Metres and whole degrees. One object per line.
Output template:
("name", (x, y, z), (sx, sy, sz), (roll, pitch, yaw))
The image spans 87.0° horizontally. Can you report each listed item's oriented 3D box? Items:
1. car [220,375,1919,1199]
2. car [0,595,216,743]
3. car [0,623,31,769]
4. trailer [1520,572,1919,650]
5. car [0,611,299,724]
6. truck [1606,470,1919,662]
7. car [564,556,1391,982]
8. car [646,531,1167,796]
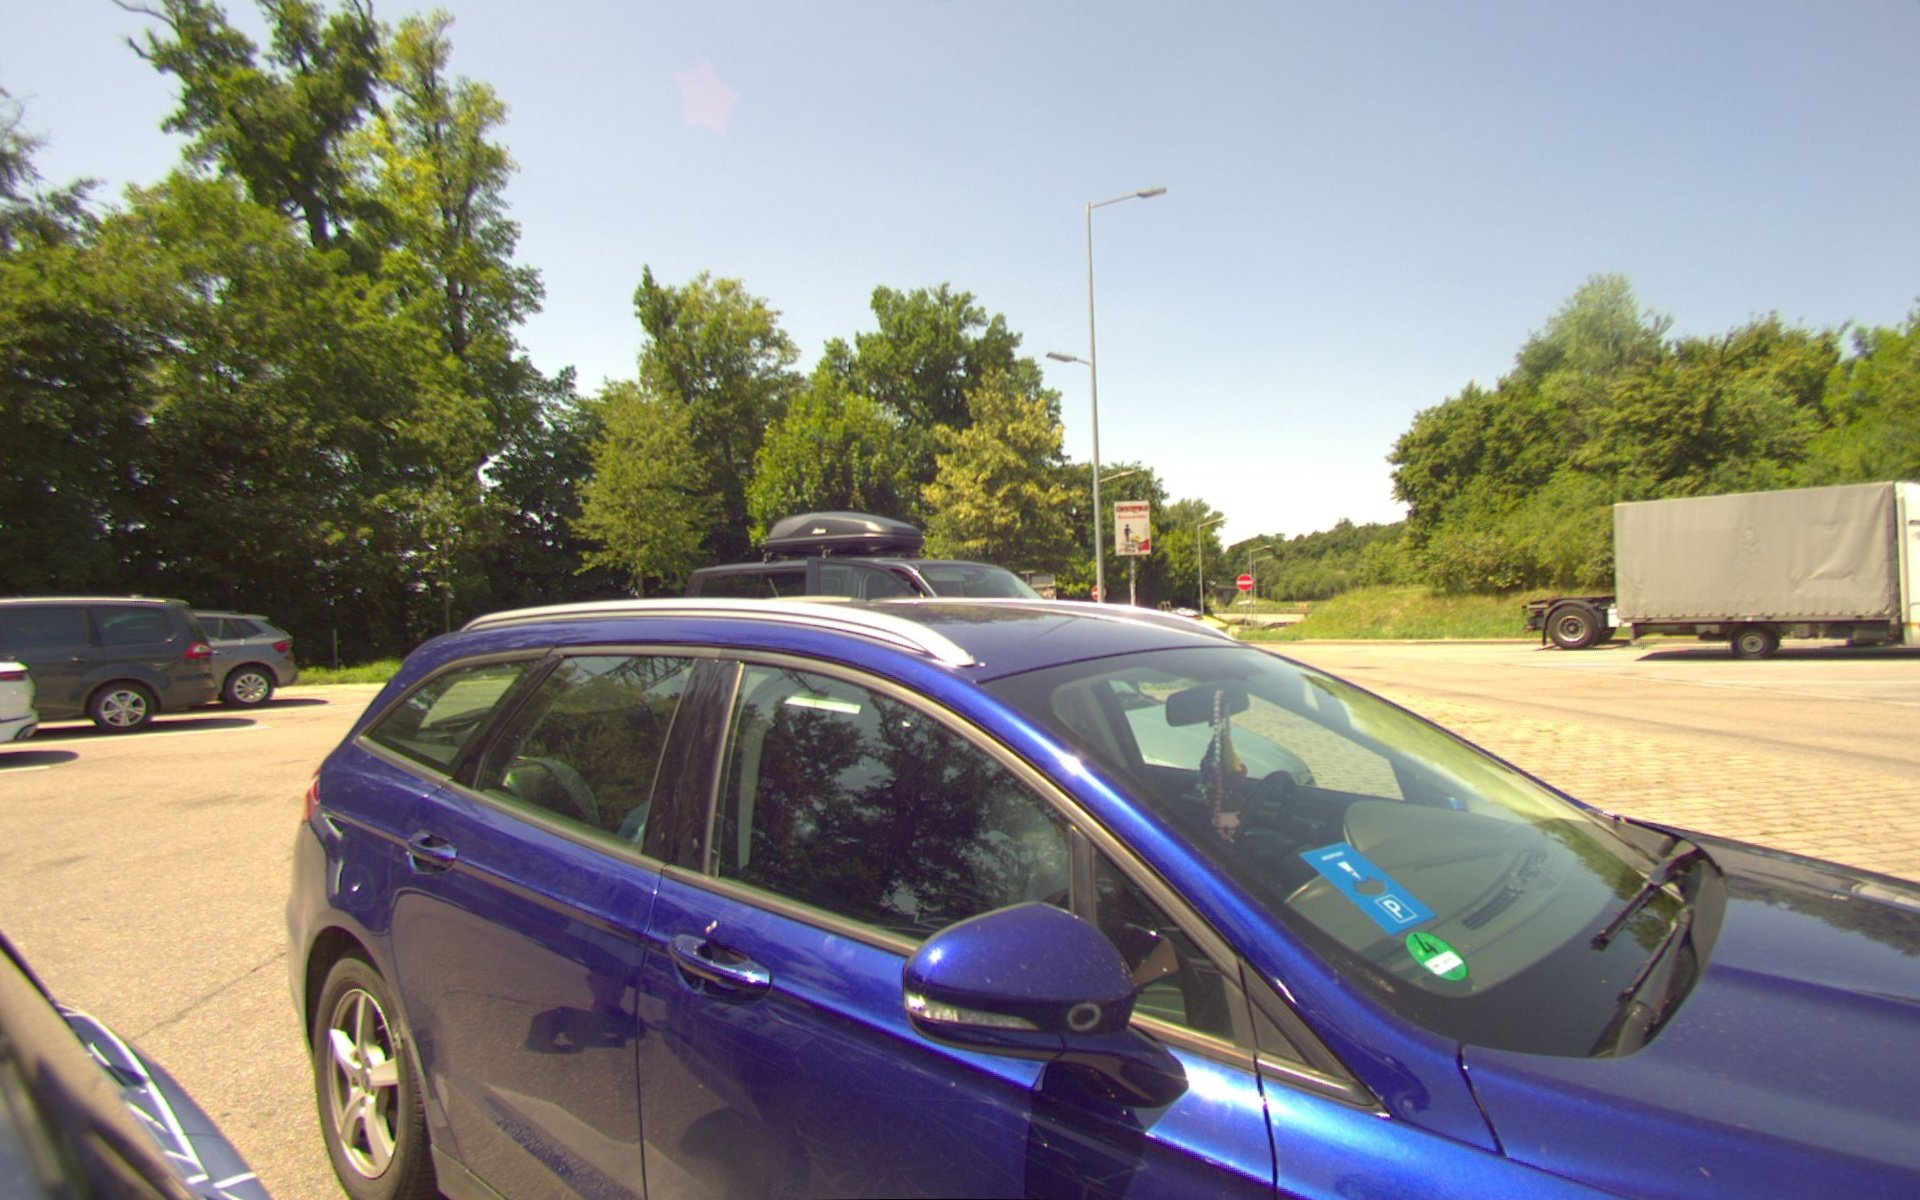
("car", (0.243, 0.634, 2.096), (4.637, 1.493, 1.720), (-2, -1, 39))
("car", (-11.657, 0.823, 12.647), (3.762, 1.737, 1.724), (0, -1, -38))
("car", (-10.998, 0.934, 9.183), (3.767, 1.396, 1.722), (0, -1, -43))
("trailer", (17.636, 0.304, 23.174), (8.088, 1.385, 2.200), (-4, -1, 41))
("car", (-12.595, 0.956, 15.728), (3.762, 1.551, 1.724), (0, -1, -38))
("truck", (16.706, -0.608, 18.952), (7.337, 3.235, 2.502), (-4, -1, 41))
("car", (-0.218, 0.671, 5.807), (4.637, 1.545, 1.720), (-2, 0, 39))
("car", (-0.661, 0.509, 9.381), (4.635, 1.884, 1.937), (-2, 0, 37))
